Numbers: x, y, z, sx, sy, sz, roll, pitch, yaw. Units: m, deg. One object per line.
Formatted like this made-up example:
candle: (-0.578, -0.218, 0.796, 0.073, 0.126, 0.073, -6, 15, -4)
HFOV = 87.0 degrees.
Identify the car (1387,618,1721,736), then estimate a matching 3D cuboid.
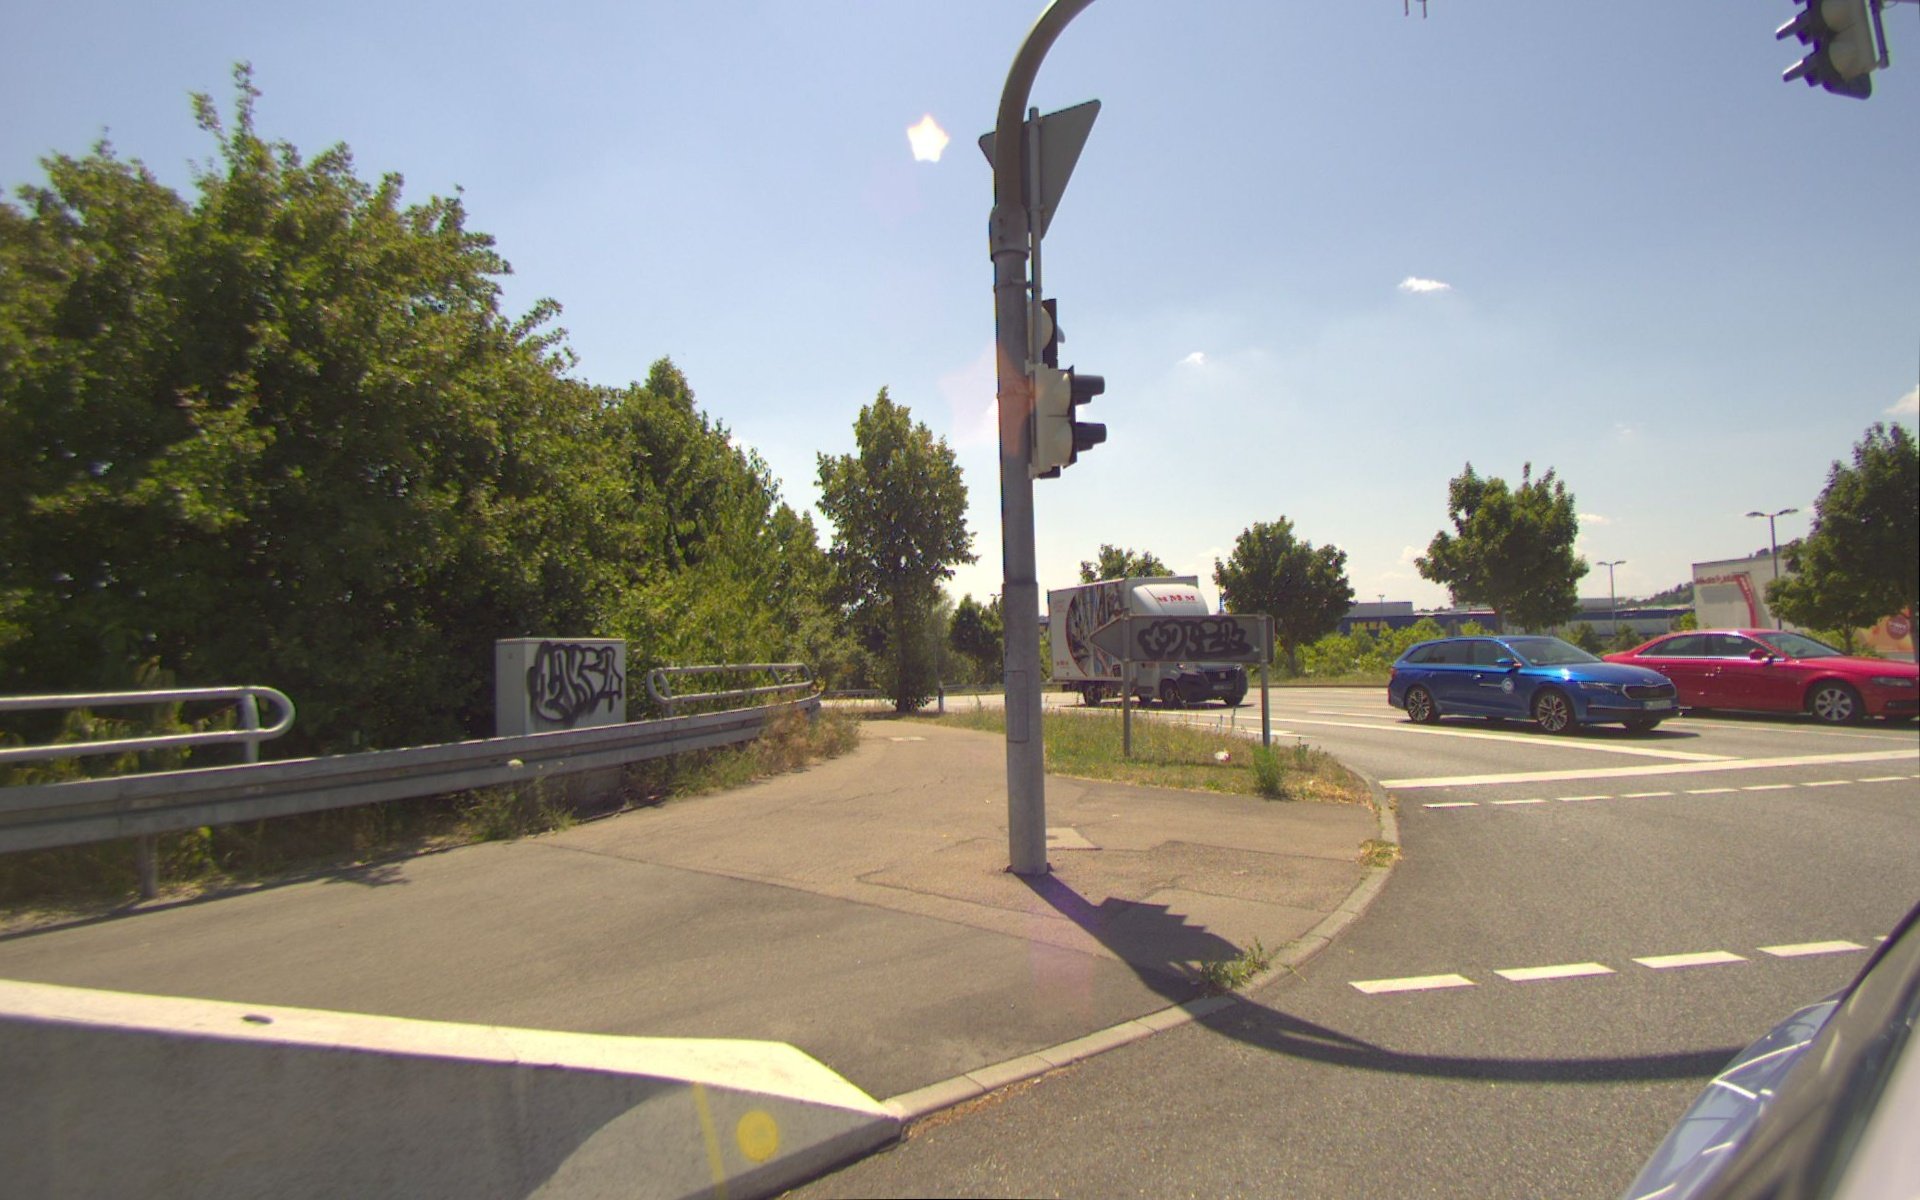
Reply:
car: (8.936, 1.139, 15.782, 1.677, 1.481, 4.496, -2, -3, -16)

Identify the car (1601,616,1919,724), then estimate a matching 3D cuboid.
car: (12.787, 1.011, 15.886, 1.631, 1.406, 4.457, -2, -2, -21)

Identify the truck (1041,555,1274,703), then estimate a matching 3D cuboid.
truck: (4.973, 0.965, 27.266, 2.365, 3.392, 7.210, -2, -4, -22)
